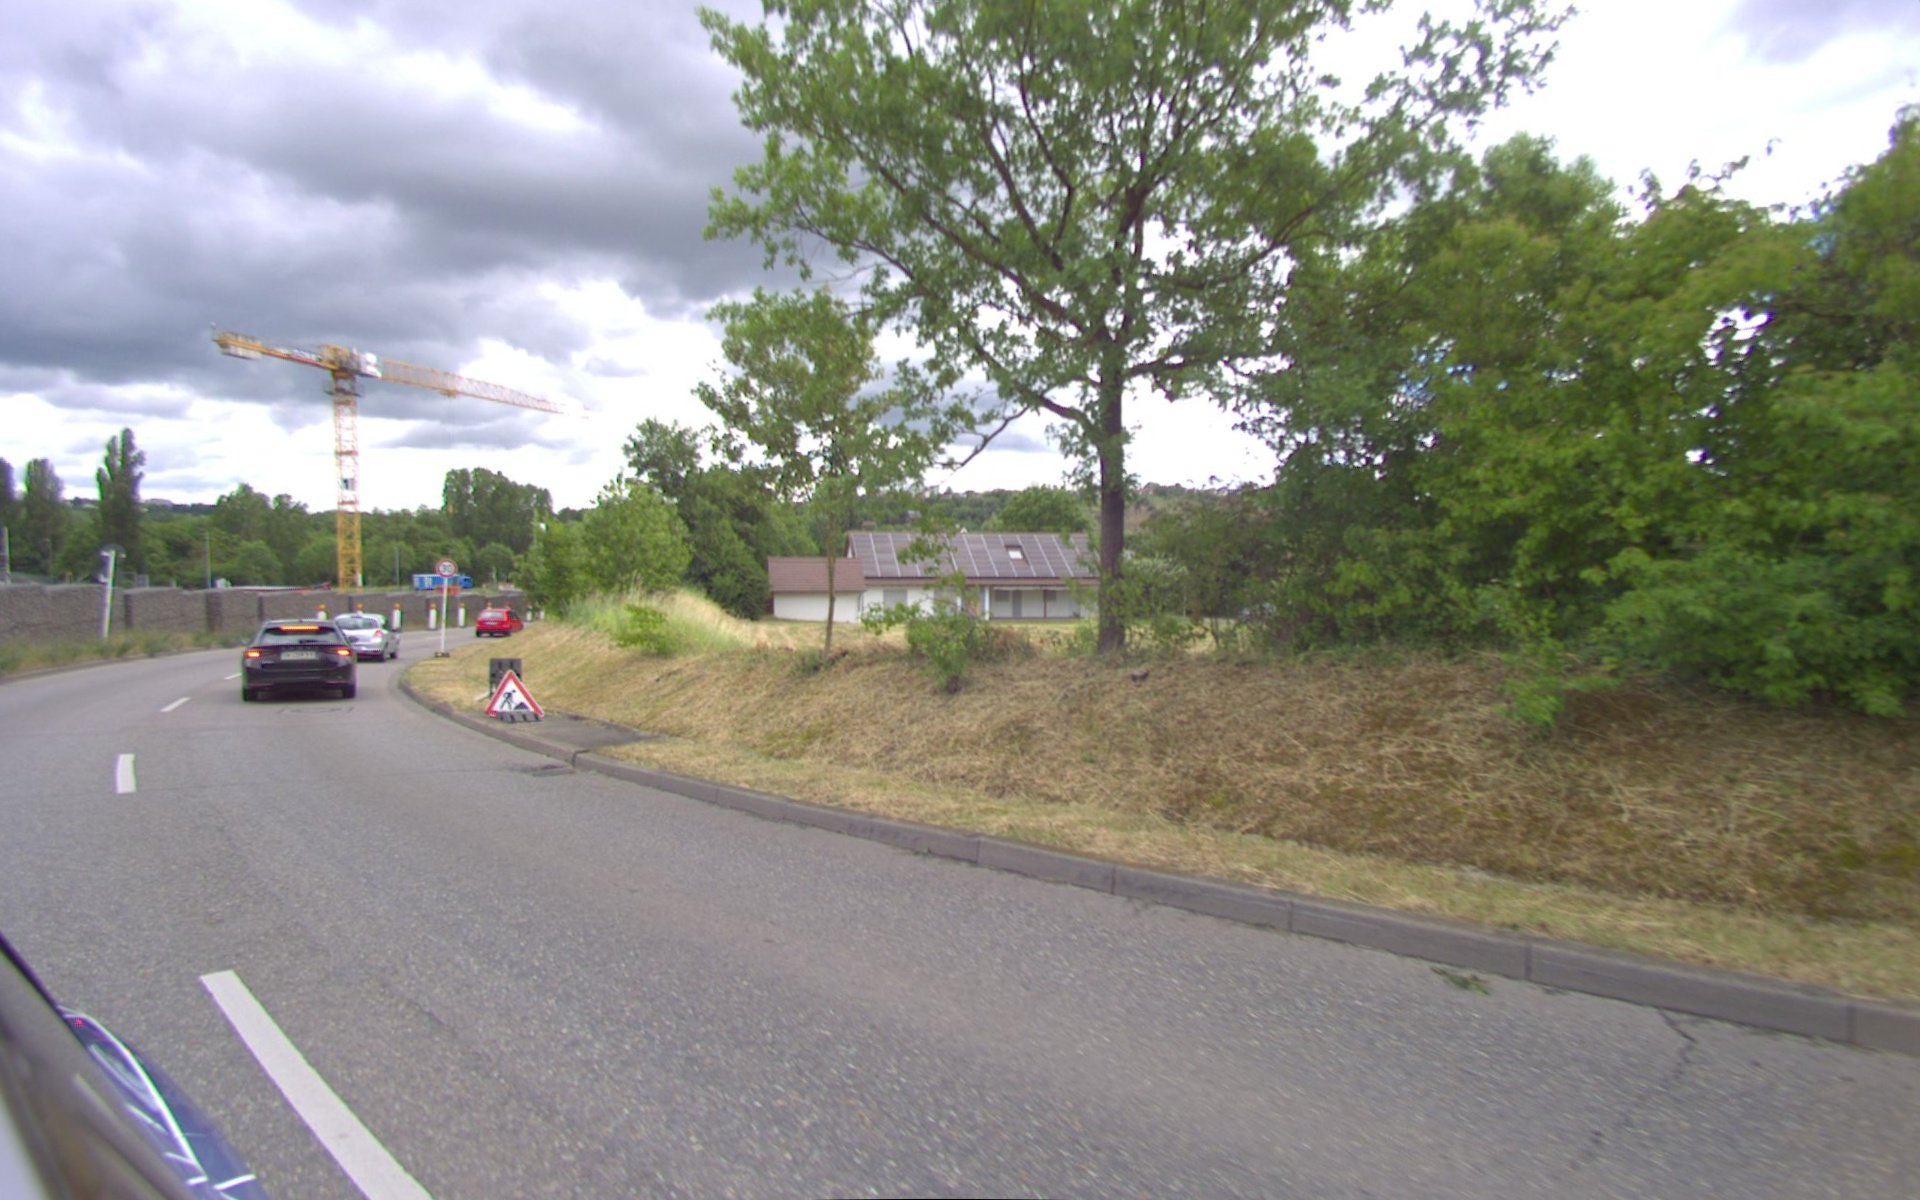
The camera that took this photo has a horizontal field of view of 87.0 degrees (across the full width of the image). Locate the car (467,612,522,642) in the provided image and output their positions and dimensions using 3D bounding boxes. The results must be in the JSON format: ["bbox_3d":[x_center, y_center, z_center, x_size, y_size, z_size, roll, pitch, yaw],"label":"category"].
[{"bbox_3d":[-24.465,1.410,53.350,1.718,1.427,3.762,3,-1,-11],"label":"car"}]

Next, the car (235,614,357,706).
[{"bbox_3d":[-12.591,1.054,19.291,1.713,1.506,4.447,2,-1,-32],"label":"car"}]

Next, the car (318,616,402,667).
[{"bbox_3d":[-19.203,1.287,32.542,1.749,1.506,3.927,1,-1,-22],"label":"car"}]
